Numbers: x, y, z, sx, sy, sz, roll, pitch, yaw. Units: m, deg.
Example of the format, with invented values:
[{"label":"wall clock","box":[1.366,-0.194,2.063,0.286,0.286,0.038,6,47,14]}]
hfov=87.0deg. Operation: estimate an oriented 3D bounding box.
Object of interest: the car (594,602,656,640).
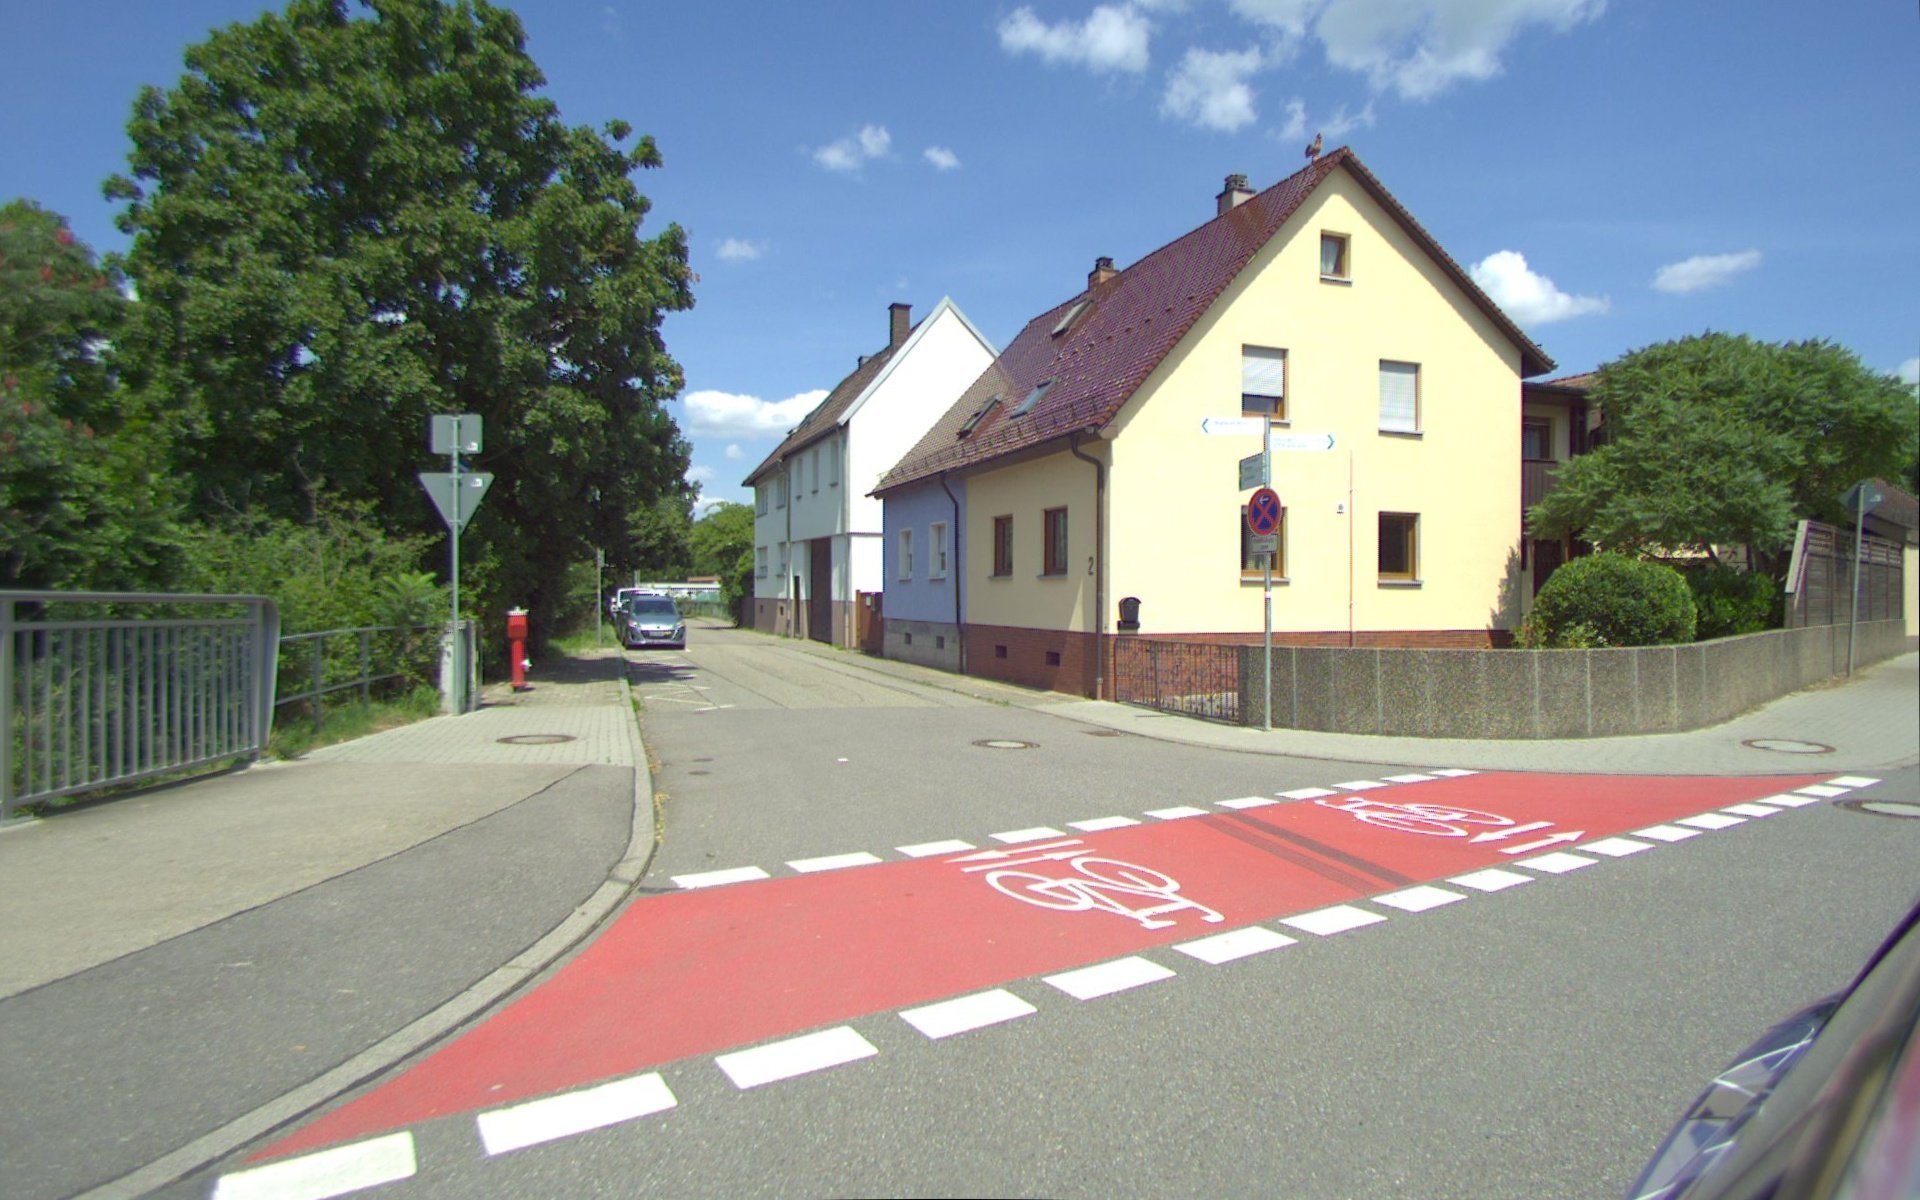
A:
[{"label":"car","box":[-12.468,0.733,37.525,1.787,1.286,4.007,0,0,-25]}]

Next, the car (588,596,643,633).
[{"label":"car","box":[-14.544,0.577,42.615,1.787,1.484,4.007,0,0,-25]}]

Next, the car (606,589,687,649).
[{"label":"car","box":[-9.740,0.526,31.230,1.788,1.718,4.266,0,0,-26]}]

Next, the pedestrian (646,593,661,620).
[{"label":"pedestrian","box":[-18.793,0.368,62.080,0.777,1.638,0.690,0,0,-31]}]

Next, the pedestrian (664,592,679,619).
[{"label":"pedestrian","box":[-17.836,0.350,62.598,0.777,1.638,0.690,0,0,-31]}]

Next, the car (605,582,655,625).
[{"label":"car","box":[-15.538,0.135,47.604,1.787,1.946,4.007,0,0,-25]}]
